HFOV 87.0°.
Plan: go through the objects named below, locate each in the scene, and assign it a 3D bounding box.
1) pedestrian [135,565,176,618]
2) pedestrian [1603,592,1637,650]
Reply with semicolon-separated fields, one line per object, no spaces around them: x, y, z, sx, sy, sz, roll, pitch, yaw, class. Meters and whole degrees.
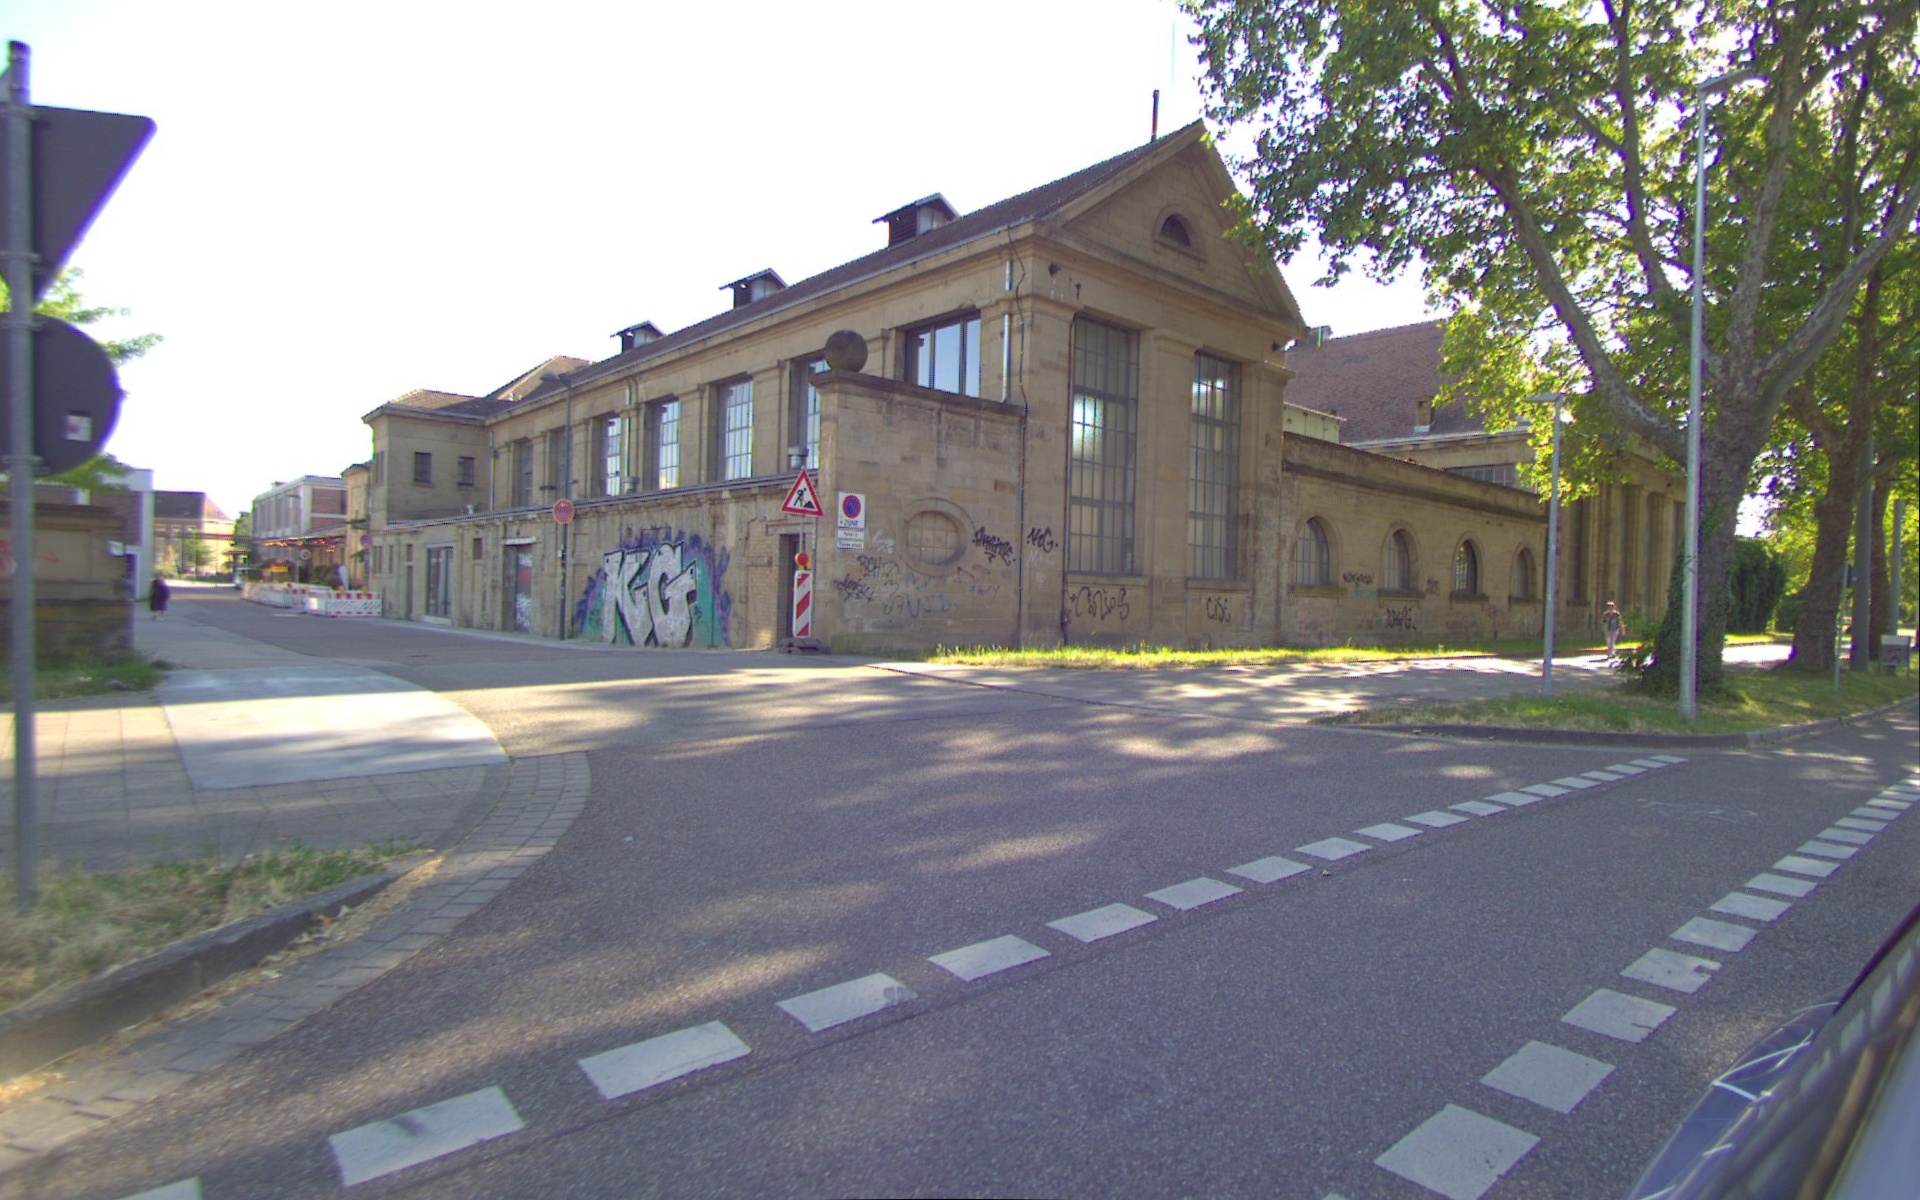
-26.640;-0.283;33.503;1.070;1.652;0.782;-5;-1;38;pedestrian
20.089;0.635;30.805;0.625;1.702;0.609;1;4;-43;pedestrian
